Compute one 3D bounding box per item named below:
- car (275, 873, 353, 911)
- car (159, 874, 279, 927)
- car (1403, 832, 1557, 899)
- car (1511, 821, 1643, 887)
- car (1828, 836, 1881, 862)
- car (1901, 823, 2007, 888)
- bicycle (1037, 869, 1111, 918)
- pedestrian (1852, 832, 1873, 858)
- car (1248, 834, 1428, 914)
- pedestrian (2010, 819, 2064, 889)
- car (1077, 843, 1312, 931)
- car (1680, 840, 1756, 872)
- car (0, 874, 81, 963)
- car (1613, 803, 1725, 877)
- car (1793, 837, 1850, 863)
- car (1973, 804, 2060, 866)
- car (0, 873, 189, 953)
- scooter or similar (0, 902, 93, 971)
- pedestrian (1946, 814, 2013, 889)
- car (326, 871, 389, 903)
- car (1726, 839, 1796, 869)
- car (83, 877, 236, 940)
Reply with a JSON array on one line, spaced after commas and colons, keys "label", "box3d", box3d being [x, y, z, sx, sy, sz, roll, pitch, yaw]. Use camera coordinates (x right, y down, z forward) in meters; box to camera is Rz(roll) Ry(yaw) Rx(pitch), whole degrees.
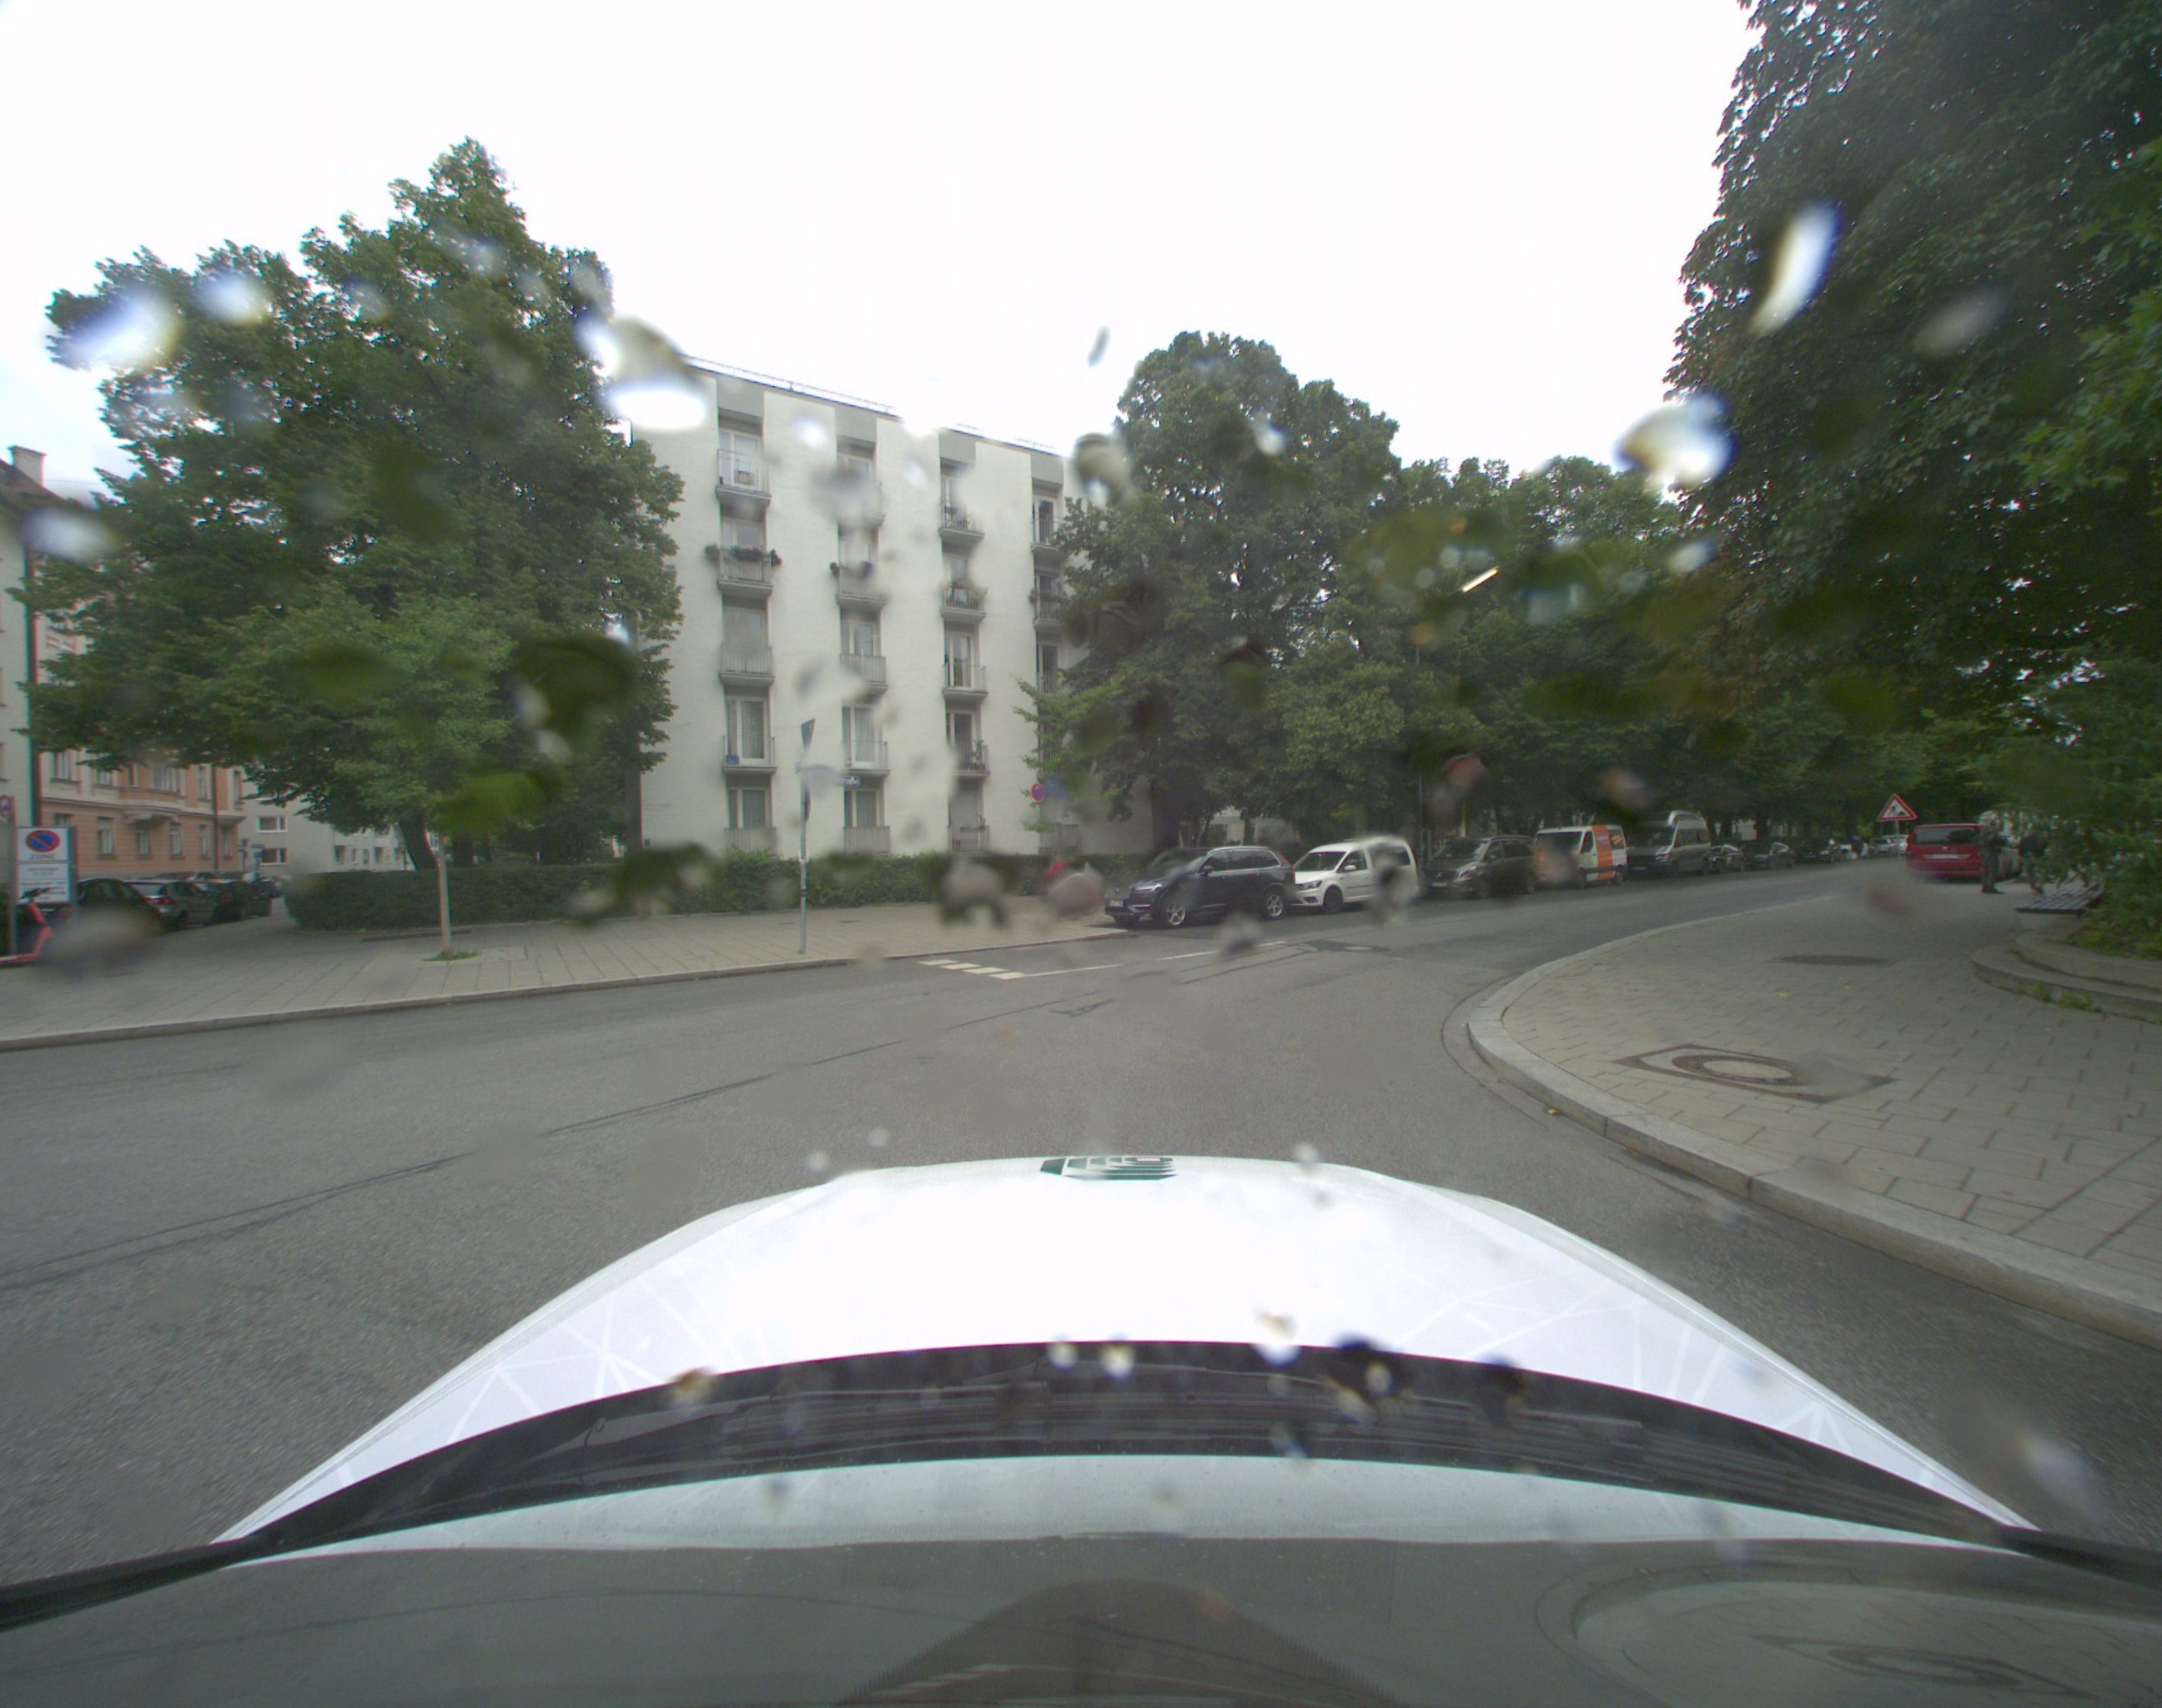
[{"label": "car", "box3d": [-34.618, 1.680, 36.851, 1.681, 1.456, 3.641, -4, 2, -30]}, {"label": "car", "box3d": [-28.762, 1.494, 27.318, 1.681, 1.456, 3.641, -4, 2, -30]}, {"label": "car", "box3d": [12.785, 0.313, 25.933, 5.693, 1.908, 2.010, -1, -1, -37]}, {"label": "car", "box3d": [18.579, -0.026, 30.408, 5.626, 2.265, 2.067, -1, -2, -35]}, {"label": "car", "box3d": [51.093, -0.340, 53.755, 4.150, 1.620, 1.977, -1, 0, -39]}, {"label": "car", "box3d": [28.531, 0.009, 26.567, 4.993, 1.937, 1.896, -1, 0, -38]}, {"label": "bicycle", "box3d": [-0.162, 0.943, 19.947, 0.744, 1.085, 1.795, -2, 0, 44]}, {"label": "pedestrian", "box3d": [48.392, -0.565, 50.406, 0.828, 1.597, 0.876, -1, 0, -43]}, {"label": "car", "box3d": [7.014, 0.463, 22.036, 4.878, 1.903, 2.068, -1, 0, -35]}, {"label": "pedestrian", "box3d": [23.073, 0.001, 19.664, 0.627, 1.667, 0.702, -1, 0, 32]}, {"label": "car", "box3d": [2.701, 0.656, 18.812, 5.325, 1.719, 2.069, -1, 0, -33]}, {"label": "car", "box3d": [30.446, 0.073, 38.884, 4.020, 1.420, 1.977, -1, 0, -39]}, {"label": "car", "box3d": [-20.183, 1.215, 14.519, 1.681, 1.528, 3.641, -4, 2, -30]}, {"label": "car", "box3d": [25.822, -0.613, 35.659, 6.261, 3.002, 2.155, -1, 0, -37]}, {"label": "car", "box3d": [45.826, -0.246, 50.371, 4.150, 1.486, 1.977, -1, 0, -39]}, {"label": "car", "box3d": [41.426, -0.849, 36.027, 5.454, 2.558, 1.978, -1, 0, -36]}, {"label": "car", "box3d": [-22.999, 1.283, 19.101, 1.681, 1.528, 3.641, -4, 2, -30]}, {"label": "scooter or similar", "box3d": [-17.298, 1.352, 13.350, 1.318, 1.024, 0.522, -2, 0, -41]}, {"label": "pedestrian", "box3d": [22.761, -0.061, 20.651, 0.812, 1.836, 0.958, -1, 0, 27]}, {"label": "car", "box3d": [-38.264, 1.730, 43.166, 1.681, 1.456, 3.641, -4, 2, -30]}, {"label": "car", "box3d": [35.074, -0.016, 41.994, 4.150, 1.420, 1.977, -1, 0, -39]}, {"label": "car", "box3d": [-25.872, 1.461, 23.031, 1.681, 1.456, 3.641, -4, 2, -30]}]
